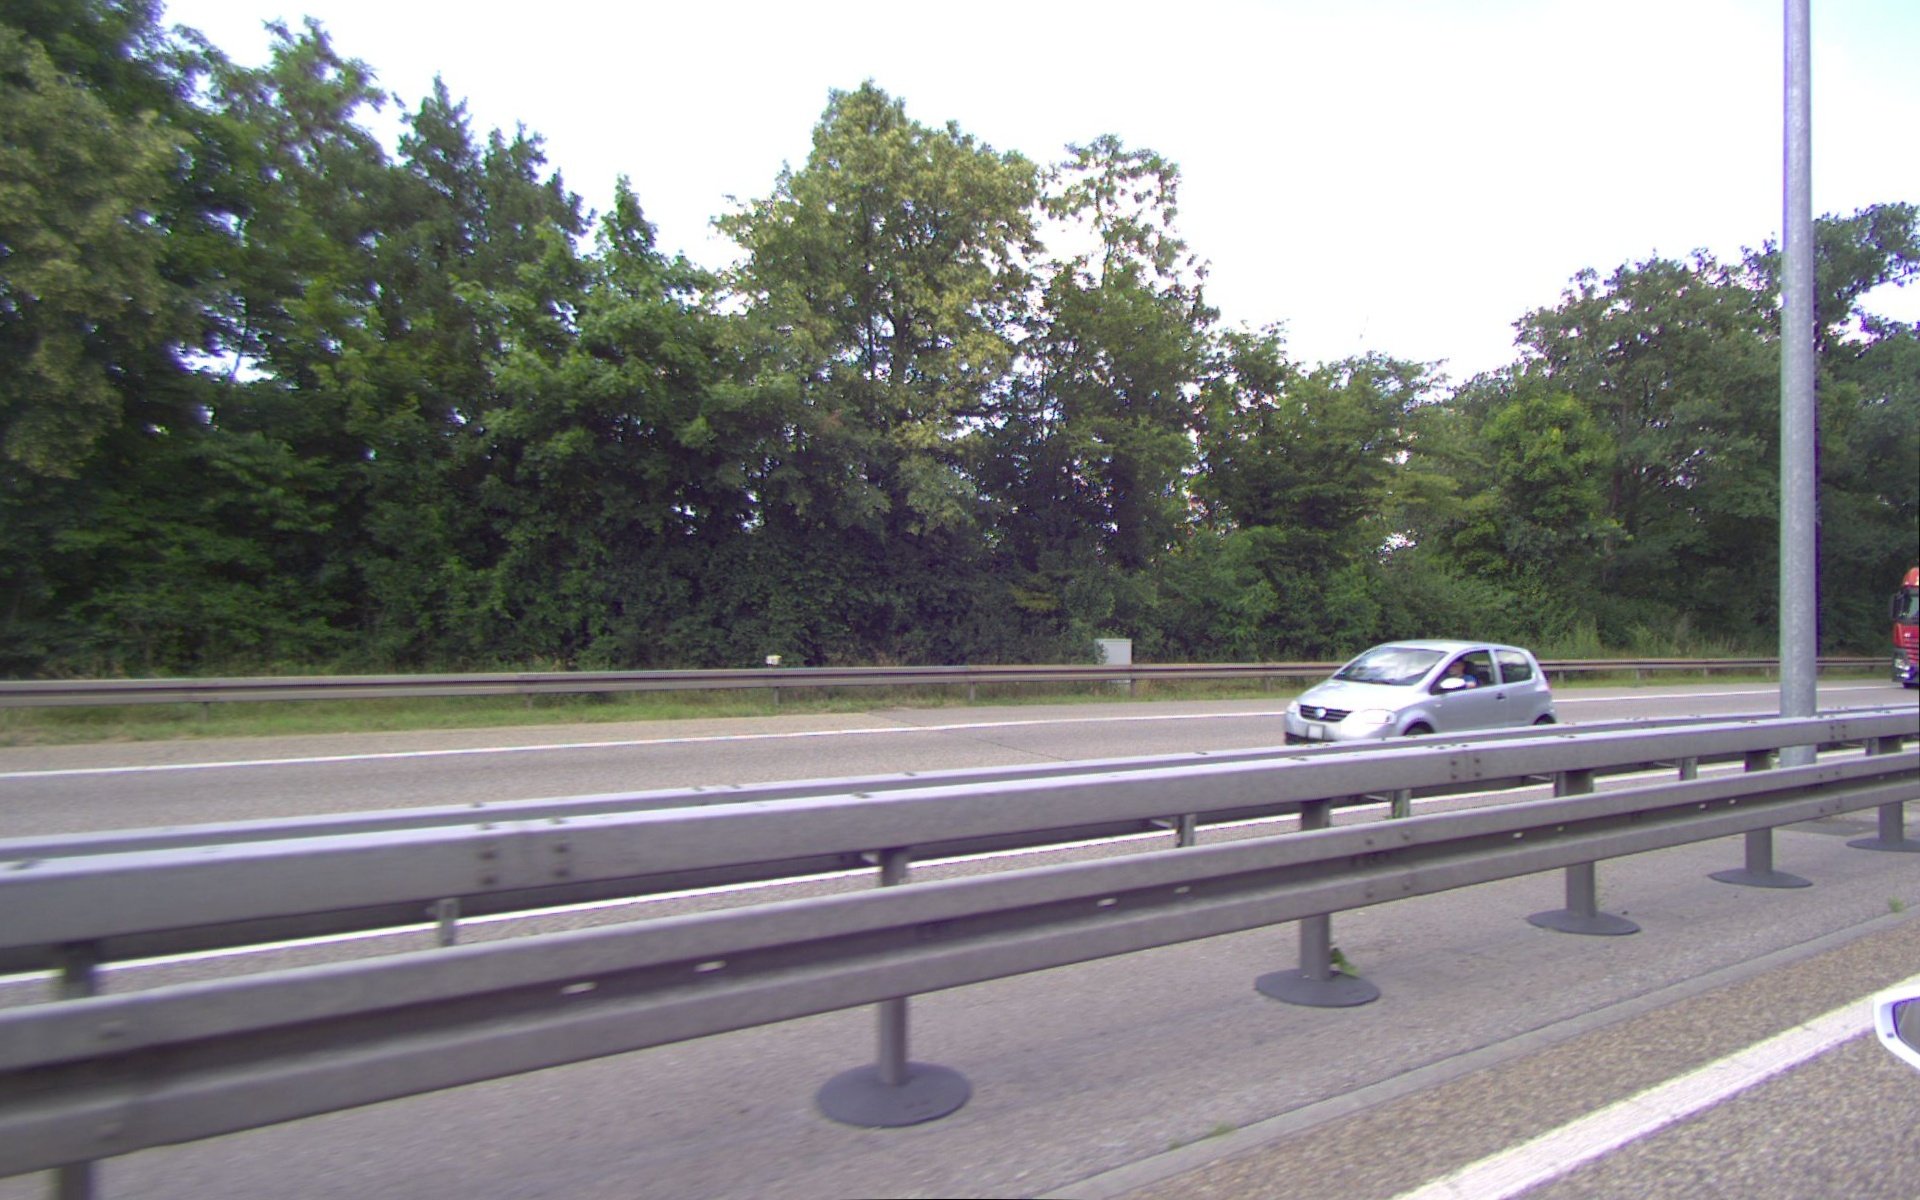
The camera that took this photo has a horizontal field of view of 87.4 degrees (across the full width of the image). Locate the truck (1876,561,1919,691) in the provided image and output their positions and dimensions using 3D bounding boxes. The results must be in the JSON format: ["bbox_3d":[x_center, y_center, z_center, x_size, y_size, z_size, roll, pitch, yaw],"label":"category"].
[{"bbox_3d":[33.484,0.866,32.259,10.199,3.906,2.942,1,-2,-30],"label":"truck"}]

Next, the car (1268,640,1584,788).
[{"bbox_3d":[5.956,1.318,12.749,3.984,1.589,1.698,1,-2,-30],"label":"car"}]
